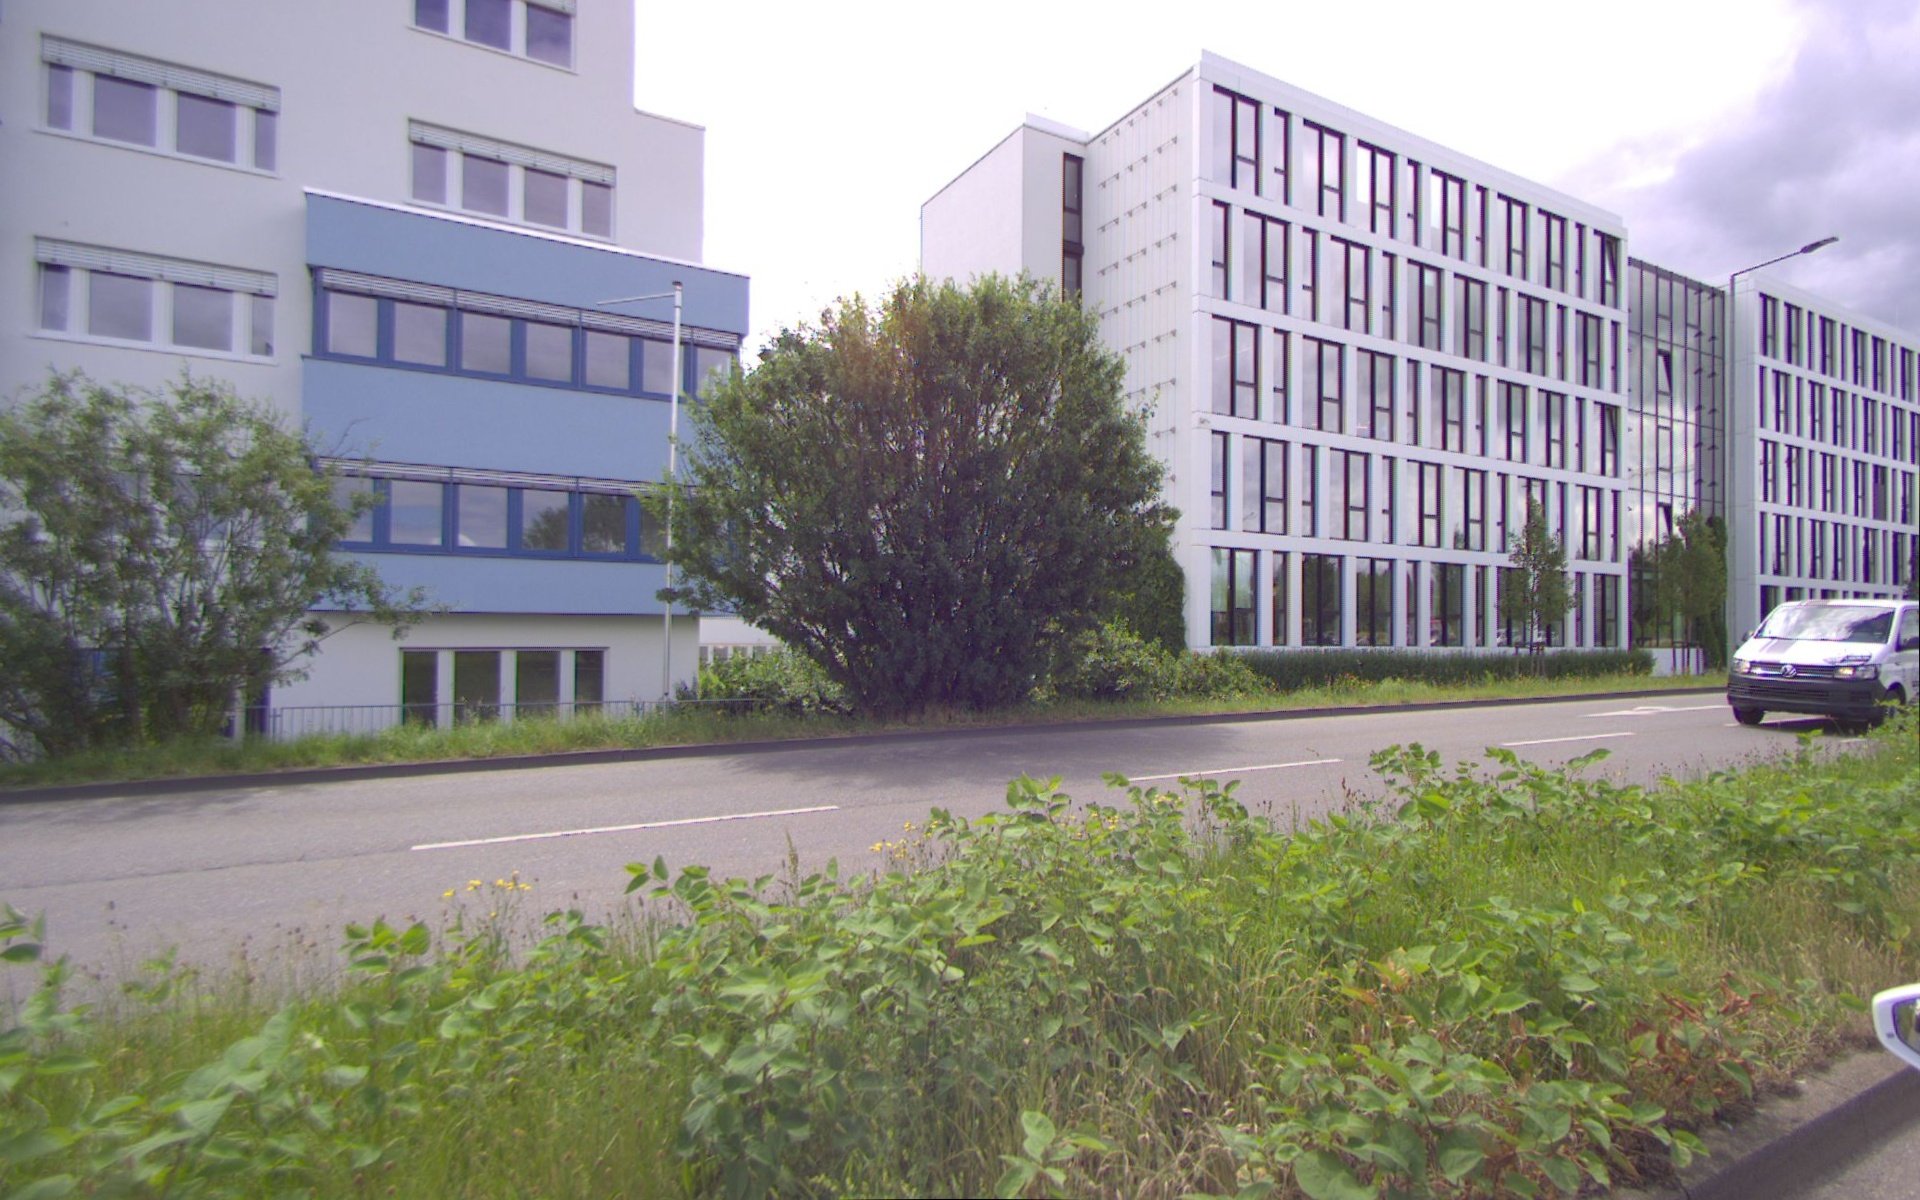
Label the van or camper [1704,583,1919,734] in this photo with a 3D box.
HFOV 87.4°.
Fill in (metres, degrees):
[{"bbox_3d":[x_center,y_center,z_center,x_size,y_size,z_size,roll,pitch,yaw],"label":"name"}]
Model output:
[{"bbox_3d":[13.837,0.855,15.612,4.760,2.040,1.984,1,-1,-30],"label":"van or camper"}]
